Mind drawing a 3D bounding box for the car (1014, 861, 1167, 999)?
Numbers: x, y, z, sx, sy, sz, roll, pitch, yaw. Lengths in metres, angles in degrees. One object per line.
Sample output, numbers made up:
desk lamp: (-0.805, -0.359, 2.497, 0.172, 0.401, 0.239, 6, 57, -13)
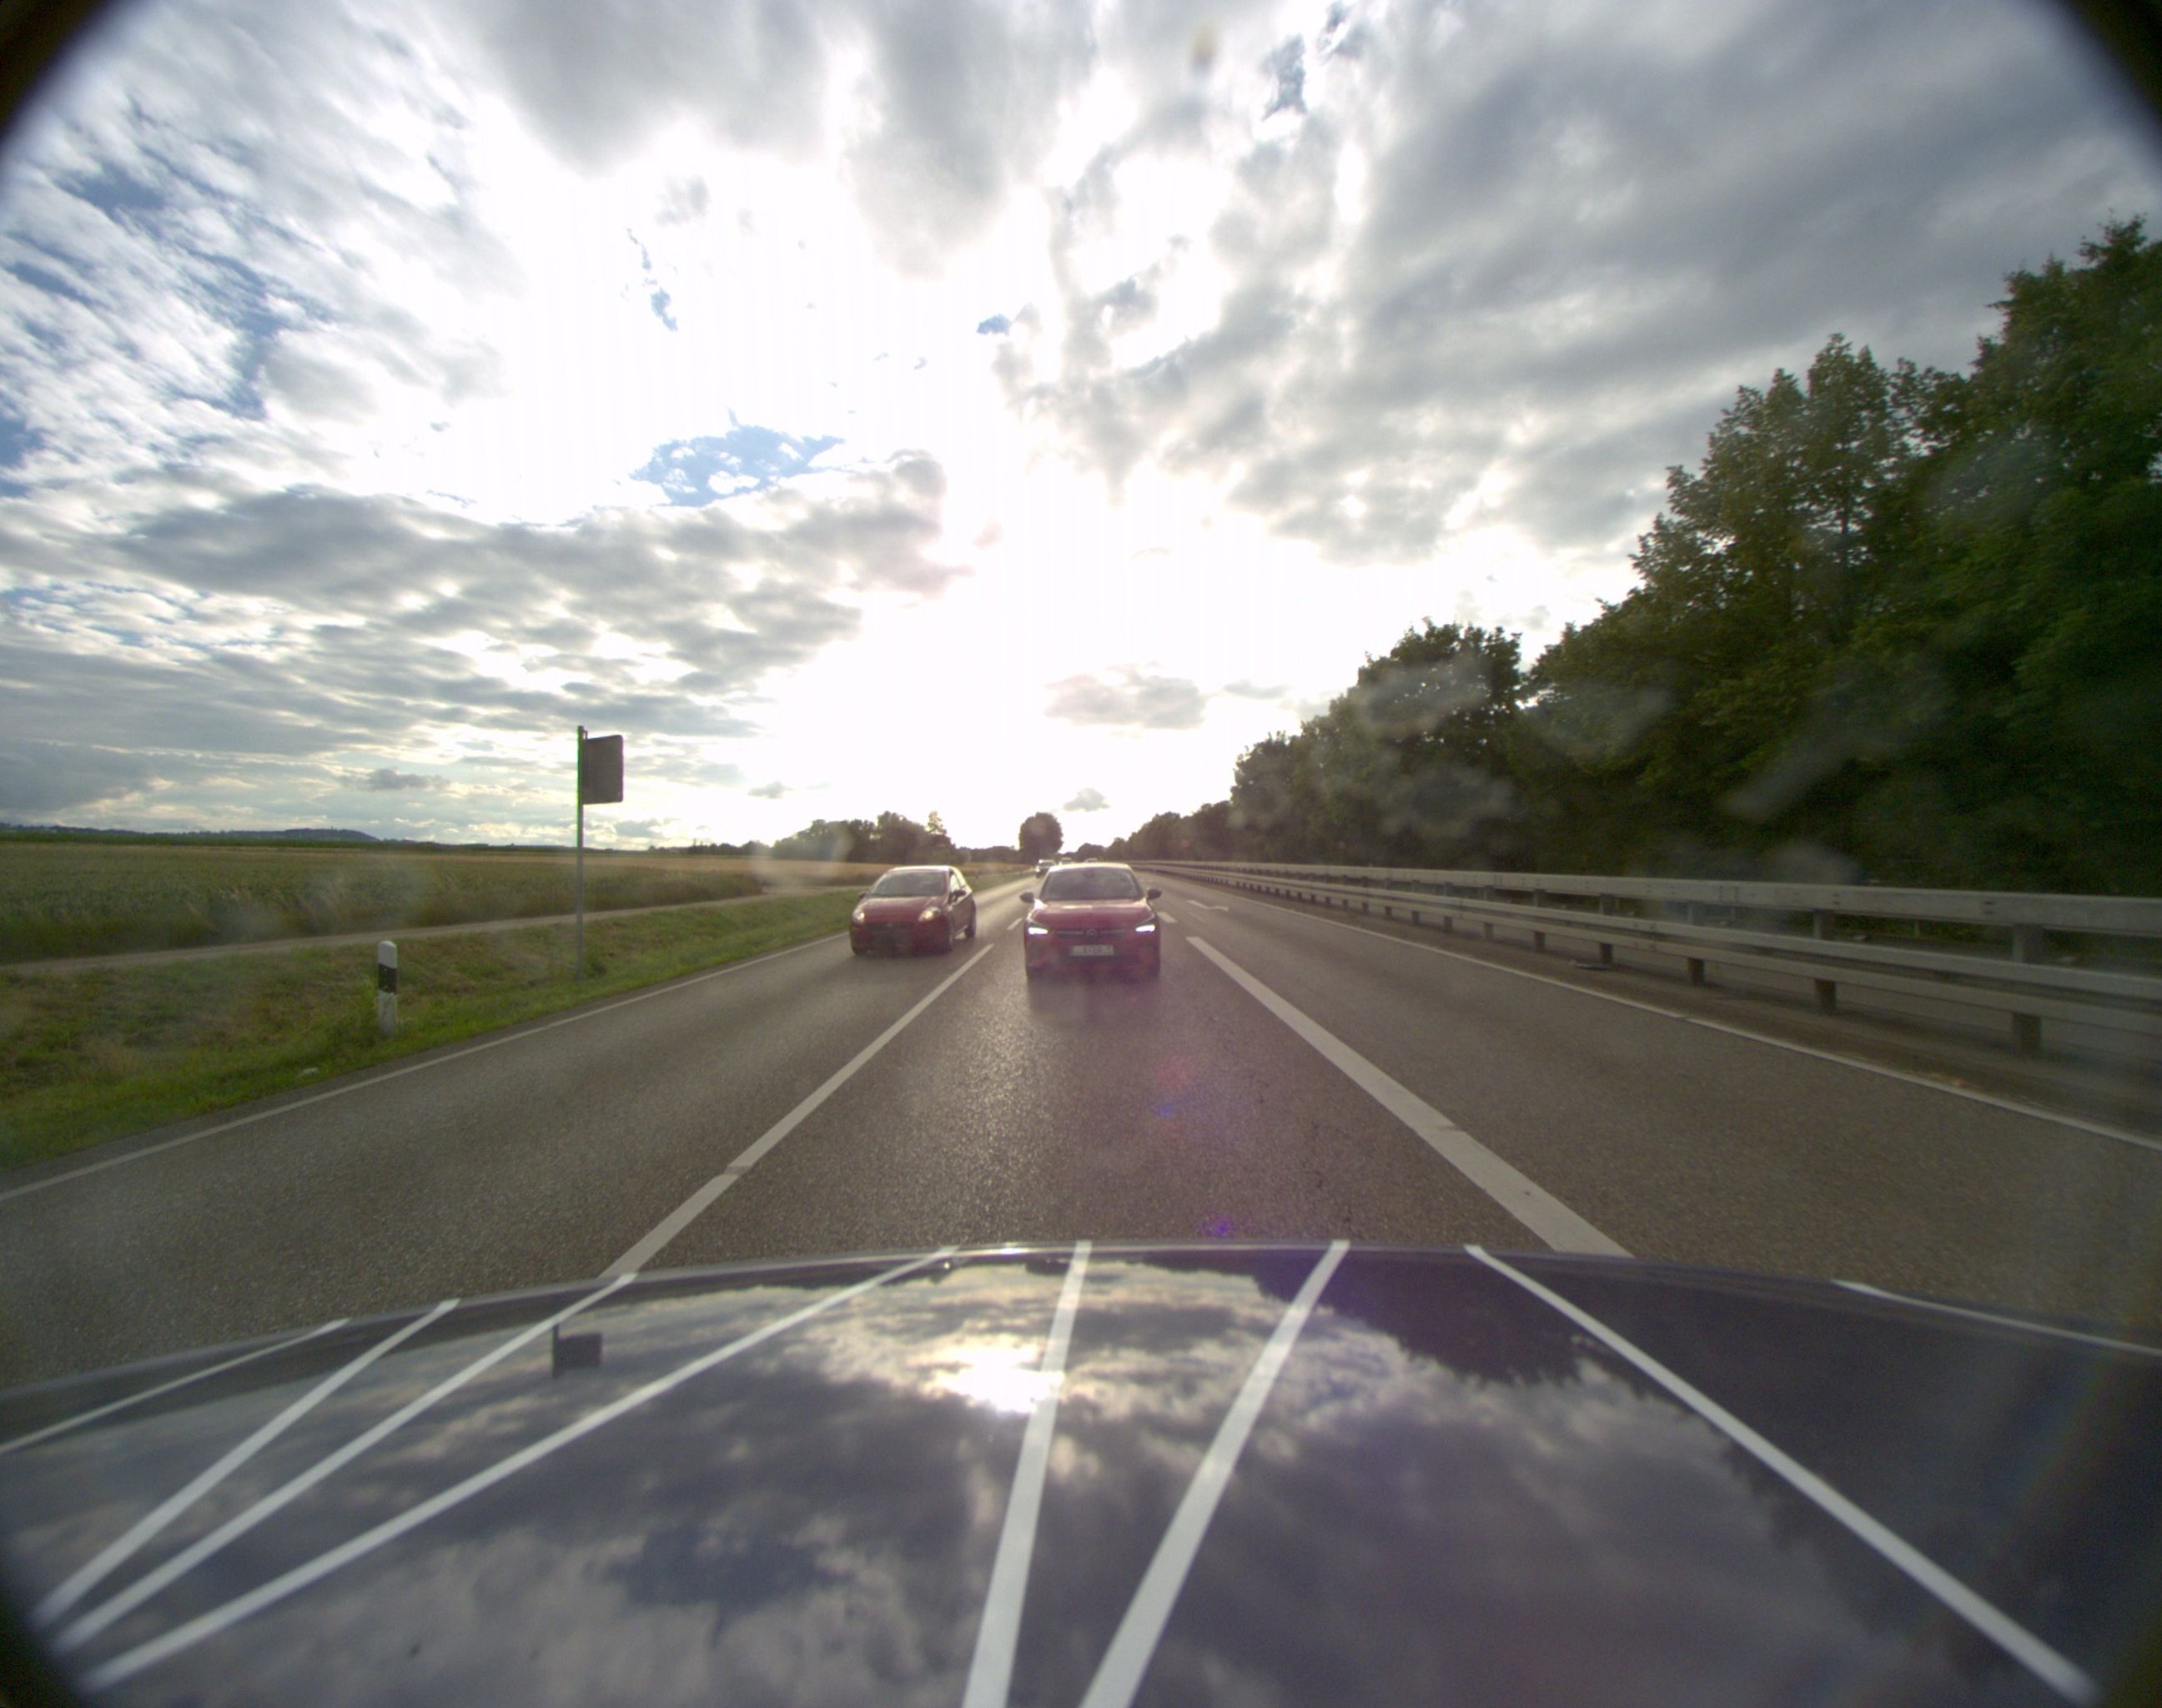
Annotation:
car: (0.136, 0.897, 10.823, 1.712, 1.448, 4.061, -2, 1, 1)

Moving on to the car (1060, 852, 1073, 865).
car: (-2.081, 0.564, 107.586, 1.671, 1.730, 4.032, -2, 1, 1)

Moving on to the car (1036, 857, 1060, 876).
car: (-2.808, 1.055, 66.014, 1.799, 1.448, 4.032, -2, 1, 1)

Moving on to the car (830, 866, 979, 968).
car: (-3.059, 1.027, 13.964, 1.712, 1.448, 3.908, -2, 1, 1)

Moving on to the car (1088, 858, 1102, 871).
car: (1.857, 1.371, 100.827, 1.712, 1.448, 4.061, -2, 1, 1)
